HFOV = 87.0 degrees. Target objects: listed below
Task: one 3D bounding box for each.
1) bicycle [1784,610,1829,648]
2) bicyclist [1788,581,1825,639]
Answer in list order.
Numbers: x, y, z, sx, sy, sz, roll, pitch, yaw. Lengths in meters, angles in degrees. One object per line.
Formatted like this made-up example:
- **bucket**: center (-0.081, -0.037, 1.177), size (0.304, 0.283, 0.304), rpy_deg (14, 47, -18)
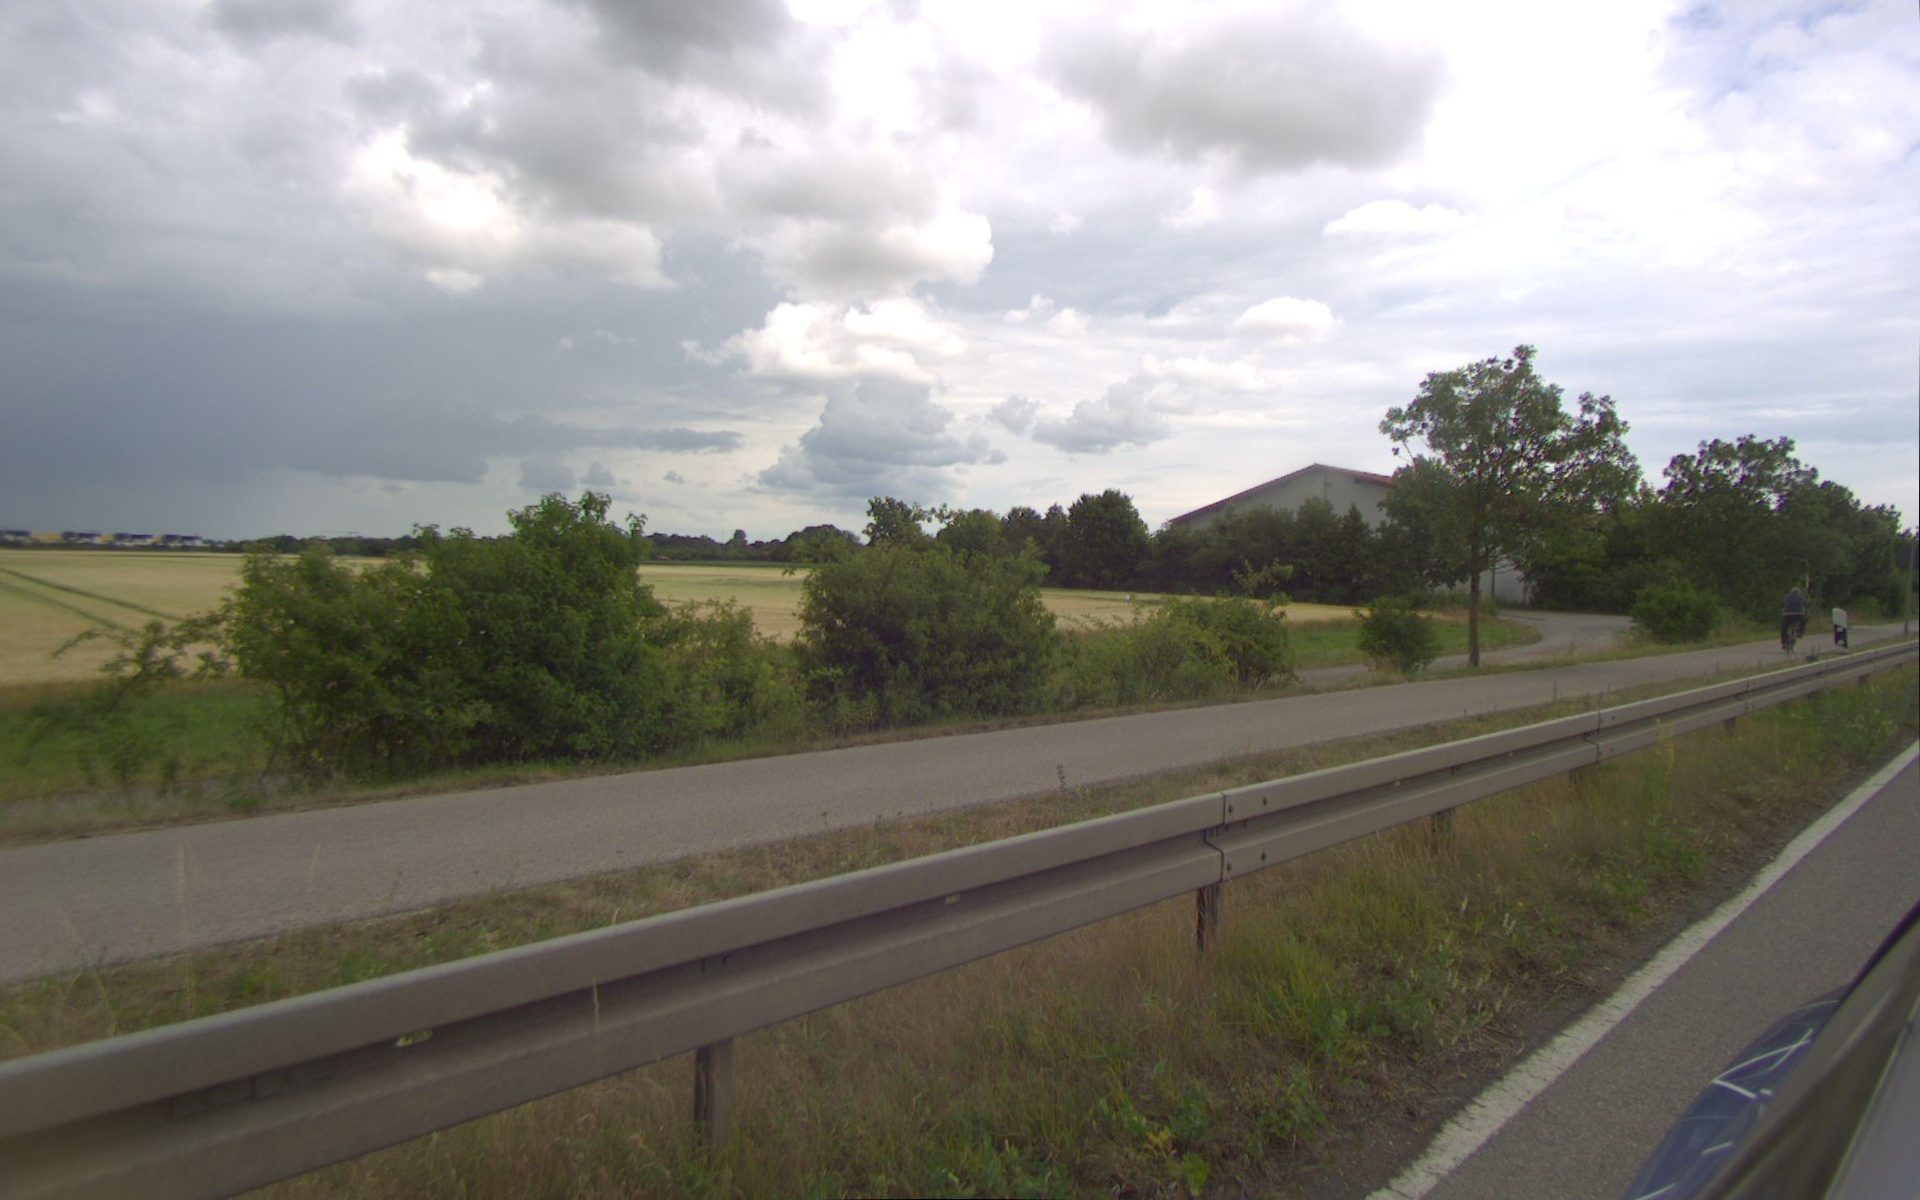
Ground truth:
- **bicycle**: center (23.697, 0.788, 28.329), size (2.036, 0.990, 0.640), rpy_deg (0, 2, -41)
- **bicyclist**: center (23.685, 0.263, 28.315), size (0.952, 1.602, 0.640), rpy_deg (0, 1, -41)
